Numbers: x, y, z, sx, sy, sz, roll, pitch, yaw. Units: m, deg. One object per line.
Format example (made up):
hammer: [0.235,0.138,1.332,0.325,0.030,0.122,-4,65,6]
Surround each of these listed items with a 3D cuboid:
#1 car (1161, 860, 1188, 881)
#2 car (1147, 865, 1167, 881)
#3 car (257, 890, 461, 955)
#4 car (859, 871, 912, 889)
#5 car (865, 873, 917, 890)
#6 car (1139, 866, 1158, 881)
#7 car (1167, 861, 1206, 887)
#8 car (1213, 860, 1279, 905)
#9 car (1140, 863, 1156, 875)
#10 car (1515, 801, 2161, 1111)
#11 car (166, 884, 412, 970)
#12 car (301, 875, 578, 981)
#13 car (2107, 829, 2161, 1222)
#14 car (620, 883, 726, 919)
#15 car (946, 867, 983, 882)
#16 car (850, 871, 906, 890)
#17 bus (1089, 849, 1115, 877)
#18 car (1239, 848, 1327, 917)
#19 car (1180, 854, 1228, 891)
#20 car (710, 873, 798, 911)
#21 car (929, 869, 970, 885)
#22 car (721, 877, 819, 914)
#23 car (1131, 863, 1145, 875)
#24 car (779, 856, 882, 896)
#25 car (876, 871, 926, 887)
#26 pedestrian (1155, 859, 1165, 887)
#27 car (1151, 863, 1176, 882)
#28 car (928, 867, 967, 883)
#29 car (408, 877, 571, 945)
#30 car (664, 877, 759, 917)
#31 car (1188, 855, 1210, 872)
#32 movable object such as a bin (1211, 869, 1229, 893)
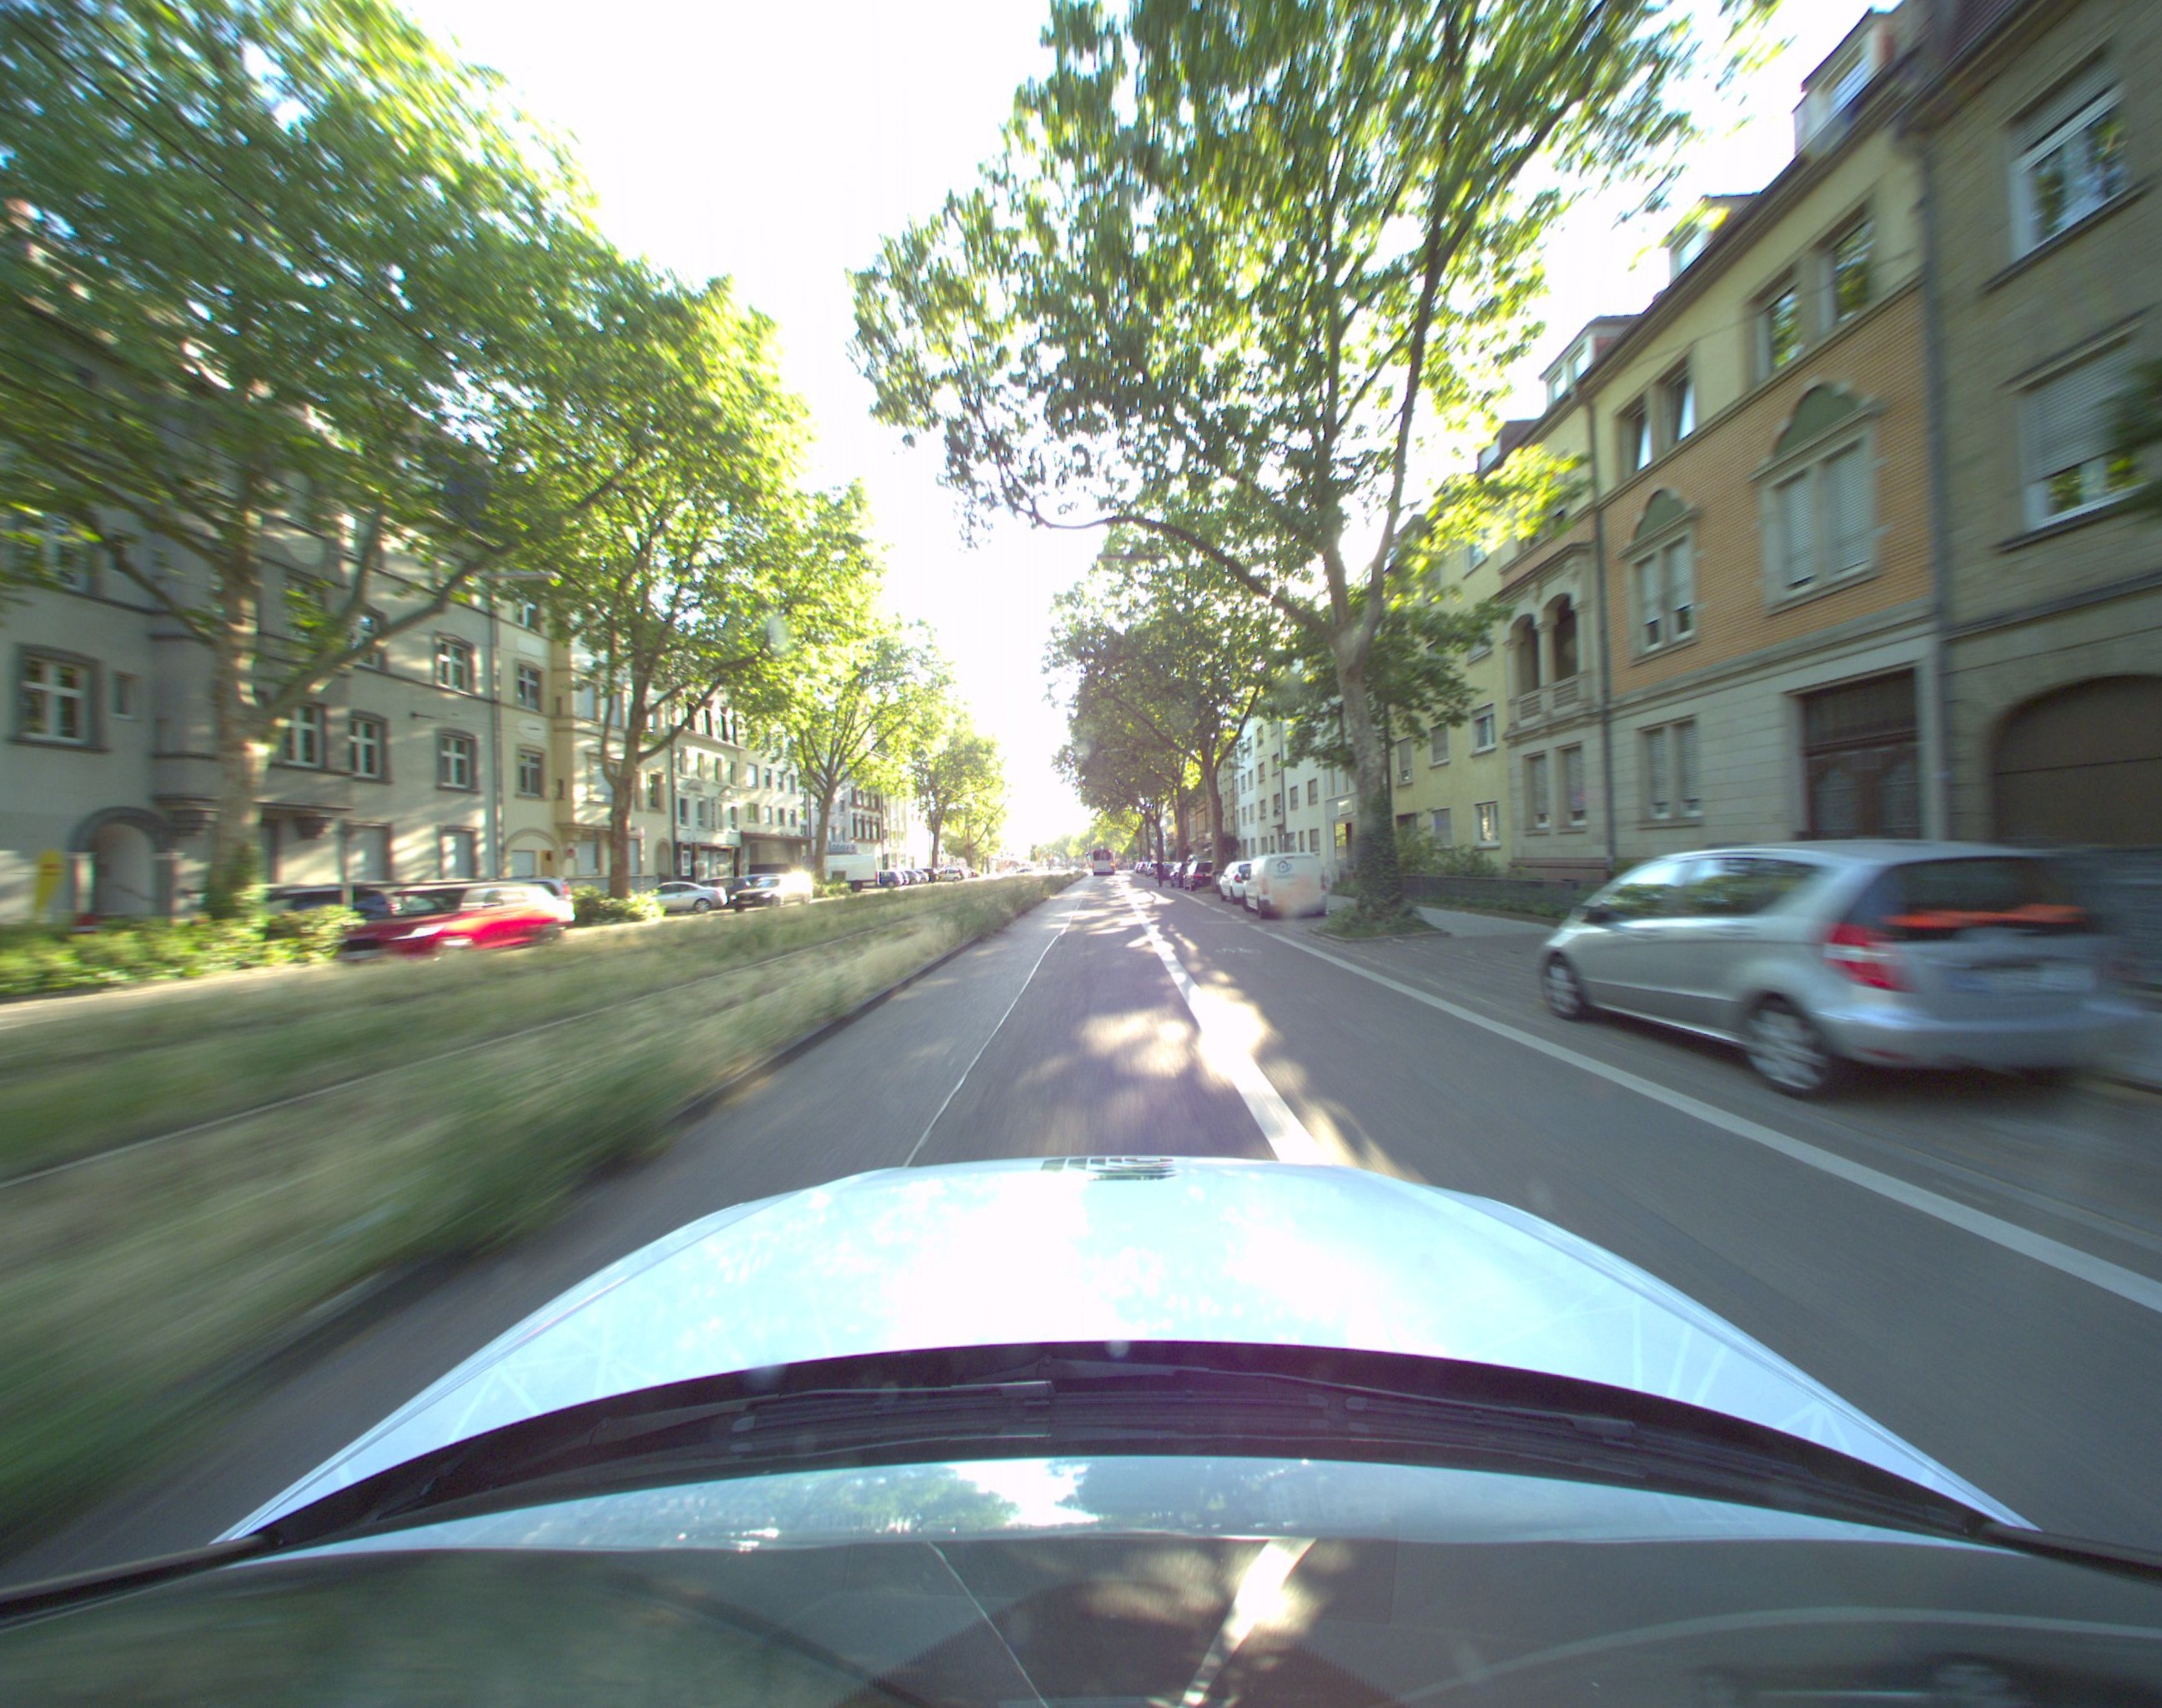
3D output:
car: [7.512,1.309,65.680,1.774,1.516,4.001,-2,-1,1]
car: [7.754,1.923,83.451,1.774,1.516,4.001,-2,-1,1]
car: [-19.328,1.789,22.055,4.019,1.448,1.568,-1,-2,-38]
car: [-17.150,2.297,71.569,4.314,1.458,1.845,-1,-2,-21]
car: [-17.577,2.521,75.400,4.334,1.458,1.837,-1,-2,-39]
car: [7.572,2.209,91.580,1.774,1.516,4.001,-2,-1,1]
car: [6.382,1.235,49.635,1.682,1.486,3.995,-2,-1,-3]
car: [5.977,1.009,29.885,1.640,1.486,4.000,-2,-1,1]
car: [8.661,1.954,105.680,1.774,1.516,4.001,-2,-1,1]
car: [5.318,0.621,6.509,1.737,1.690,3.854,-2,-1,3]
car: [-18.624,1.647,19.458,4.019,1.723,1.764,-1,-2,-38]
car: [-11.433,1.230,14.943,1.783,1.574,4.001,-2,-1,2]
car: [5.248,0.604,1.368,1.987,1.560,3.979,-2,-1,0]
car: [-17.557,1.980,35.090,4.012,1.356,1.570,-1,-2,-31]
car: [-15.045,2.627,105.101,4.334,1.738,1.837,-1,-2,-39]
car: [-17.145,2.258,68.863,4.290,1.458,1.855,-2,-2,-5]
bus: [2.499,1.149,99.761,2.825,3.236,8.177,-2,-1,-1]
car: [5.752,0.796,23.672,1.736,1.770,4.399,-2,-1,4]
car: [6.373,0.976,42.692,1.738,1.770,4.987,-2,-1,0]
car: [-17.399,2.011,43.355,4.013,1.699,1.838,-3,-1,-31]
car: [-15.223,2.669,94.179,4.334,1.738,1.837,-1,-2,-39]
car: [-13.708,1.803,36.256,1.735,1.460,4.938,-2,-1,10]
car: [7.830,2.077,112.480,1.774,1.516,4.001,-2,-1,1]
car: [-18.174,1.568,59.143,6.960,2.678,2.171,-1,-2,-20]
car: [-17.327,2.393,78.540,4.334,1.458,1.837,-1,-2,-39]
pedestrian: [5.024,1.223,51.867,0.574,1.780,0.514,-2,-1,1]
car: [7.098,1.557,70.361,1.774,1.516,4.001,-2,-1,1]
car: [-16.031,2.481,97.820,4.334,1.738,1.837,-1,-2,-39]
car: [-18.707,1.746,25.820,4.021,1.882,1.976,-1,-2,-41]
car: [-18.115,2.074,39.991,4.013,1.553,1.838,-4,1,-31]
car: [13.108,1.074,90.802,1.876,1.860,4.326,-2,-1,1]
movable object such as a bin: [6.284,1.207,36.871,0.671,1.045,0.880,-2,1,1]
